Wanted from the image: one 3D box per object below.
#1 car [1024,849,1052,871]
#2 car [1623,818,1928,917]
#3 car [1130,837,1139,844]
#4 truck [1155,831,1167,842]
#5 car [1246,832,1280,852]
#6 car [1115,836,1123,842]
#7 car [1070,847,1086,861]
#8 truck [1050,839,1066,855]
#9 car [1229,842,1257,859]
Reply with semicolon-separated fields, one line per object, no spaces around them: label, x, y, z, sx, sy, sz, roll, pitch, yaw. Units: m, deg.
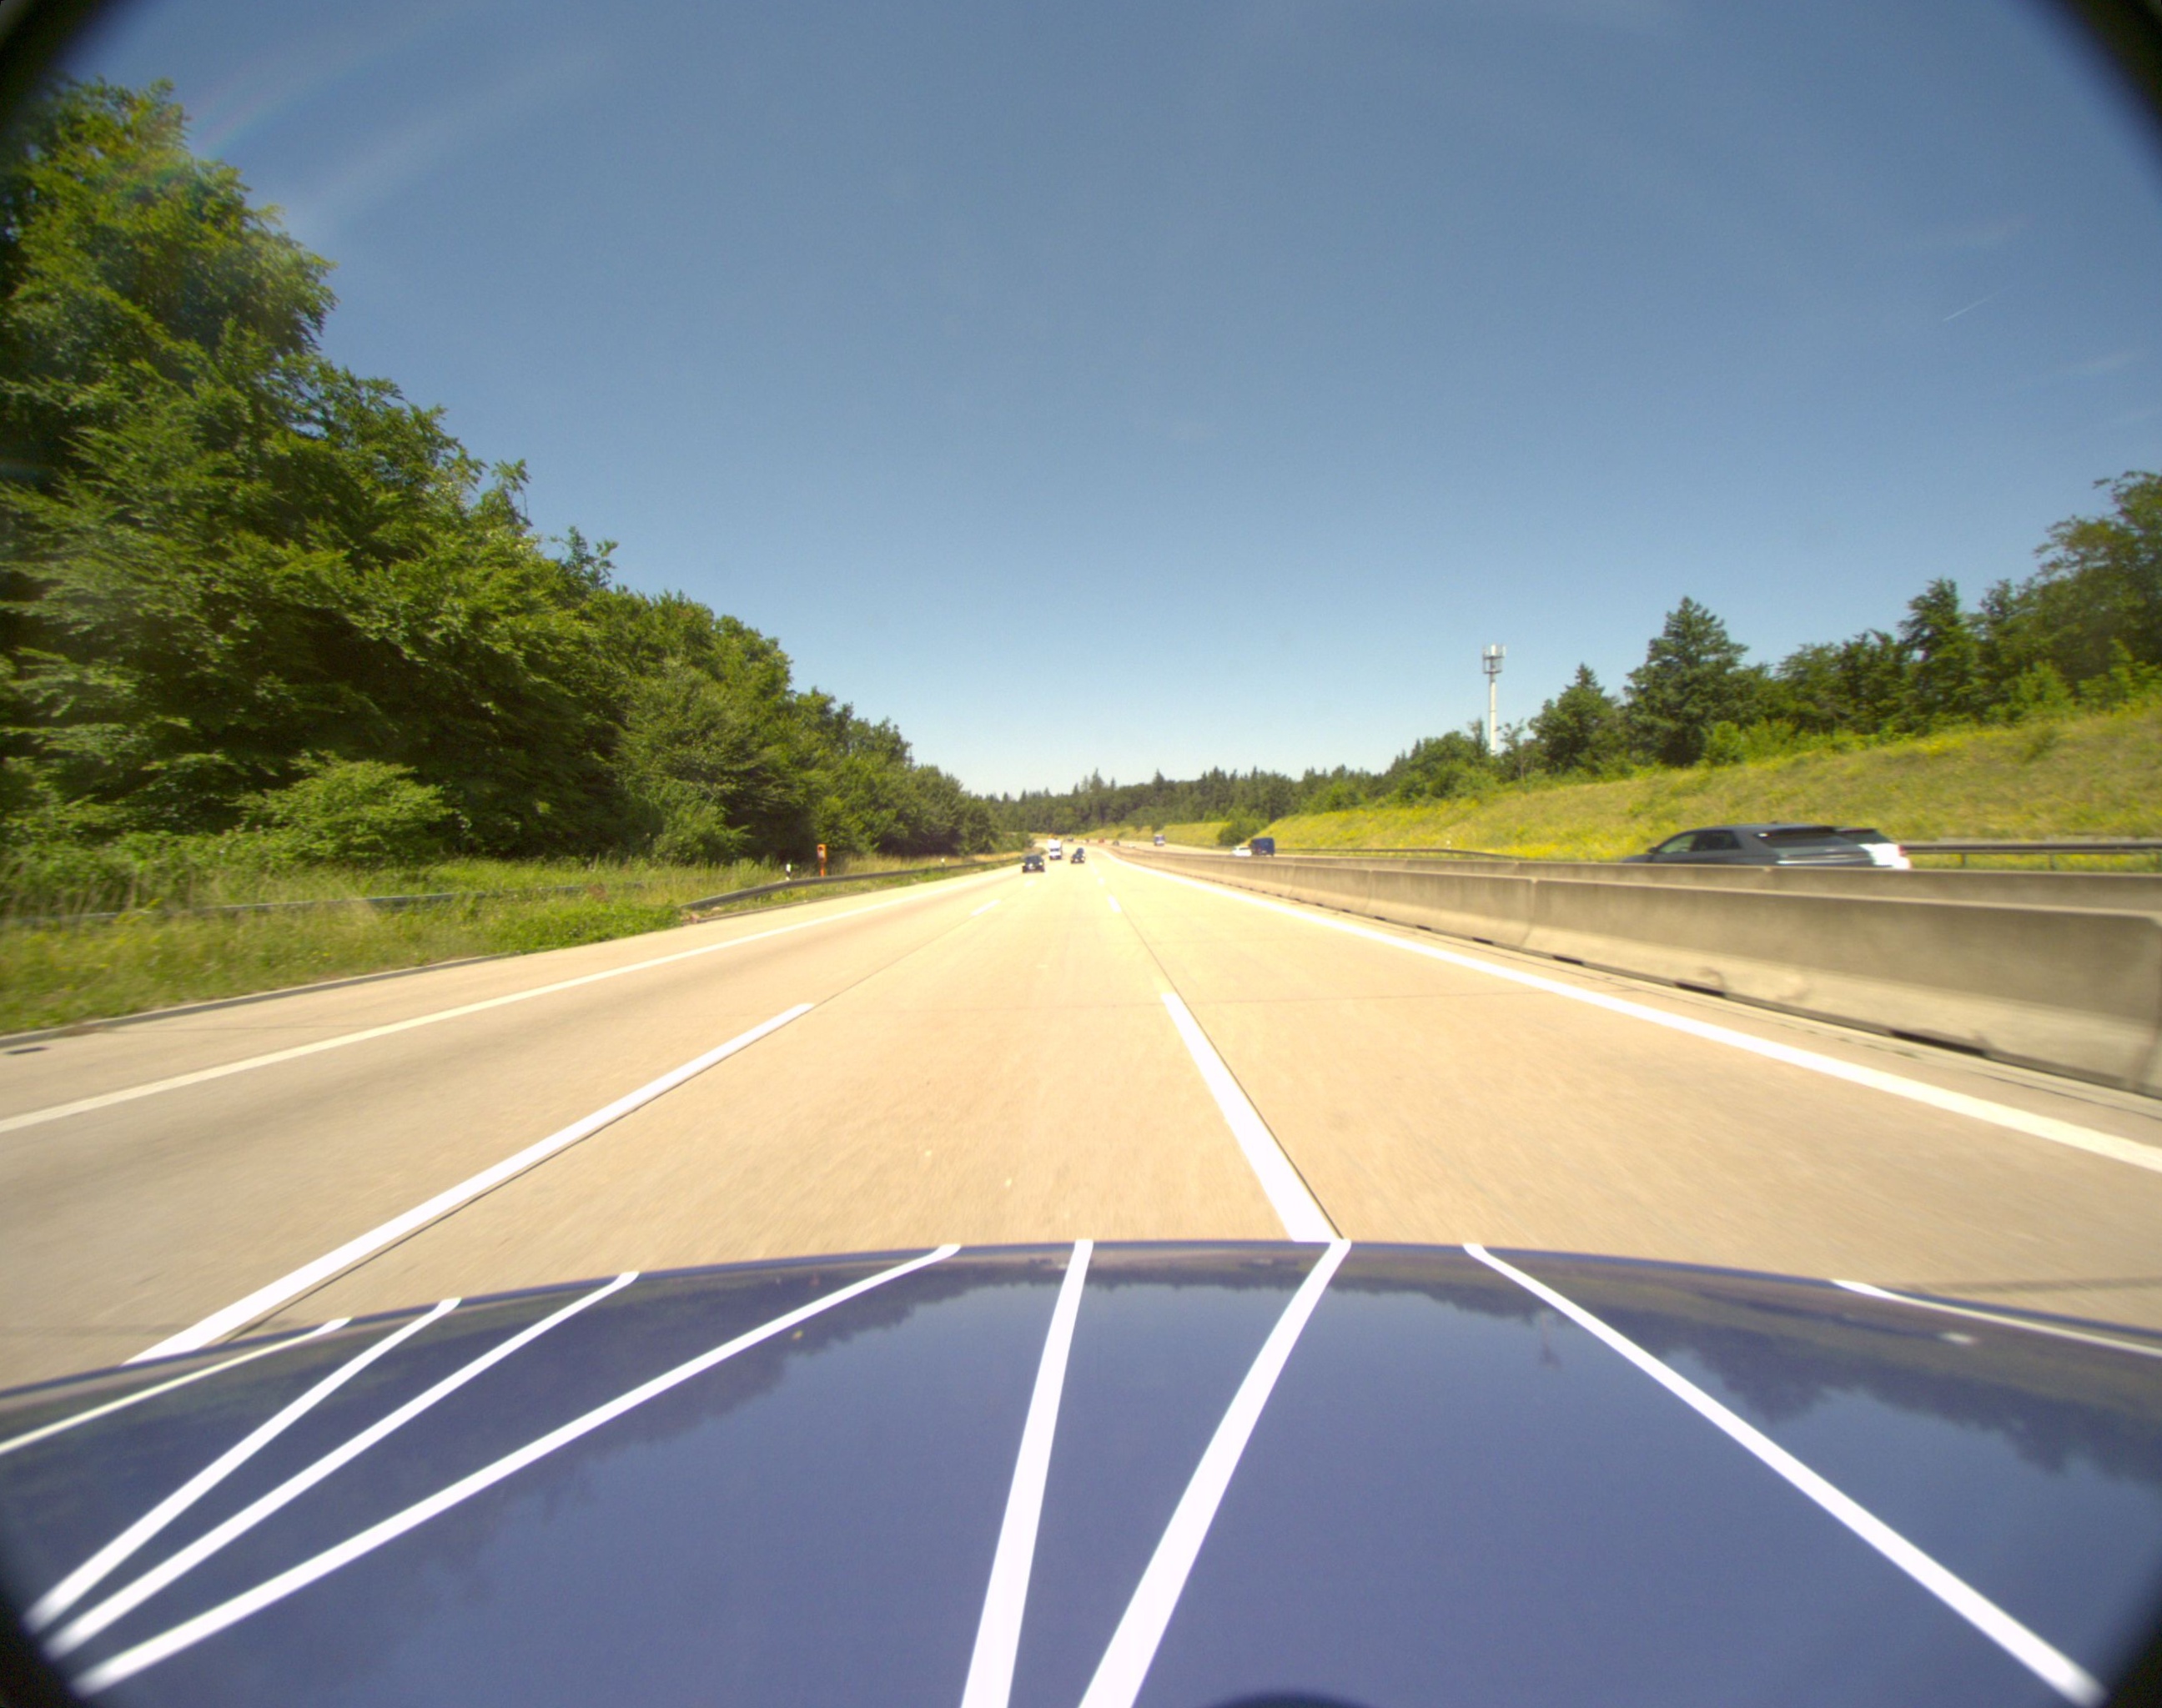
car;-3.680;0.453;65.117;1.931;1.694;4.399;-3;1;2
car;12.859;0.204;14.533;1.998;1.529;4.195;-2;1;0
car;14.767;-3.729;210.793;1.999;1.595;4.410;-3;1;-1
truck;22.214;-4.779;211.762;2.568;2.972;7.833;-3;1;0
car;21.480;-1.389;90.071;2.487;2.197;6.458;-2;0;1
car;12.625;-4.958;252.091;1.999;1.595;4.657;-3;1;-1
car;-0.369;-0.054;101.420;1.998;1.694;4.399;-3;1;2
truck;-4.100;-1.298;136.827;2.483;2.780;5.914;-3;1;2
car;17.551;-0.379;82.481;2.013;1.797;4.853;-2;0;1
